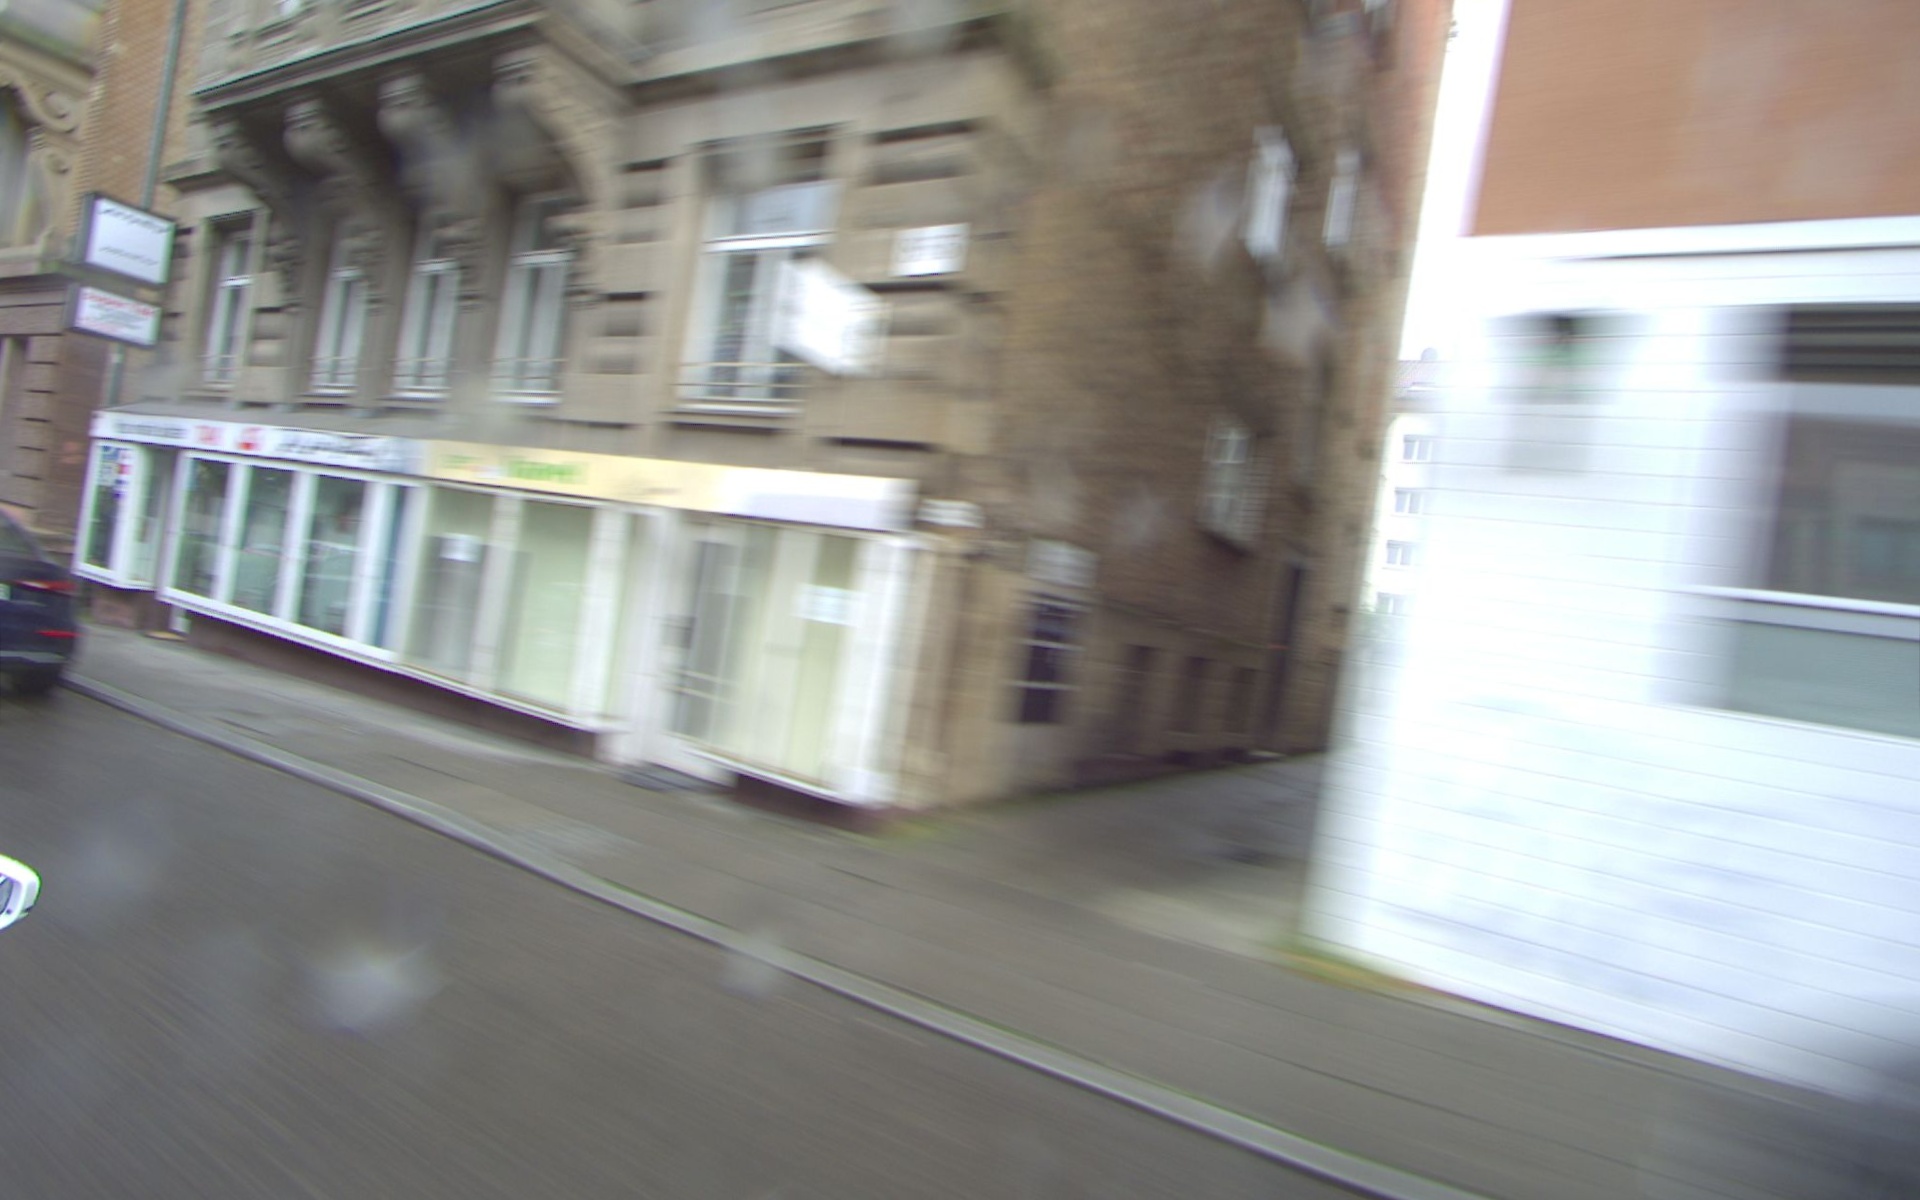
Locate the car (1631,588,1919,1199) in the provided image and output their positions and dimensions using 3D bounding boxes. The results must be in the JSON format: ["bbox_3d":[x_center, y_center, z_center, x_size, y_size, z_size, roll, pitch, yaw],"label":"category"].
[{"bbox_3d":[3.158,1.081,0.525,4.511,1.651,1.849,5,-3,32],"label":"car"}]

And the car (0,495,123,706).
[{"bbox_3d":[-8.490,-0.188,7.741,4.187,1.422,1.796,5,-3,31],"label":"car"}]
